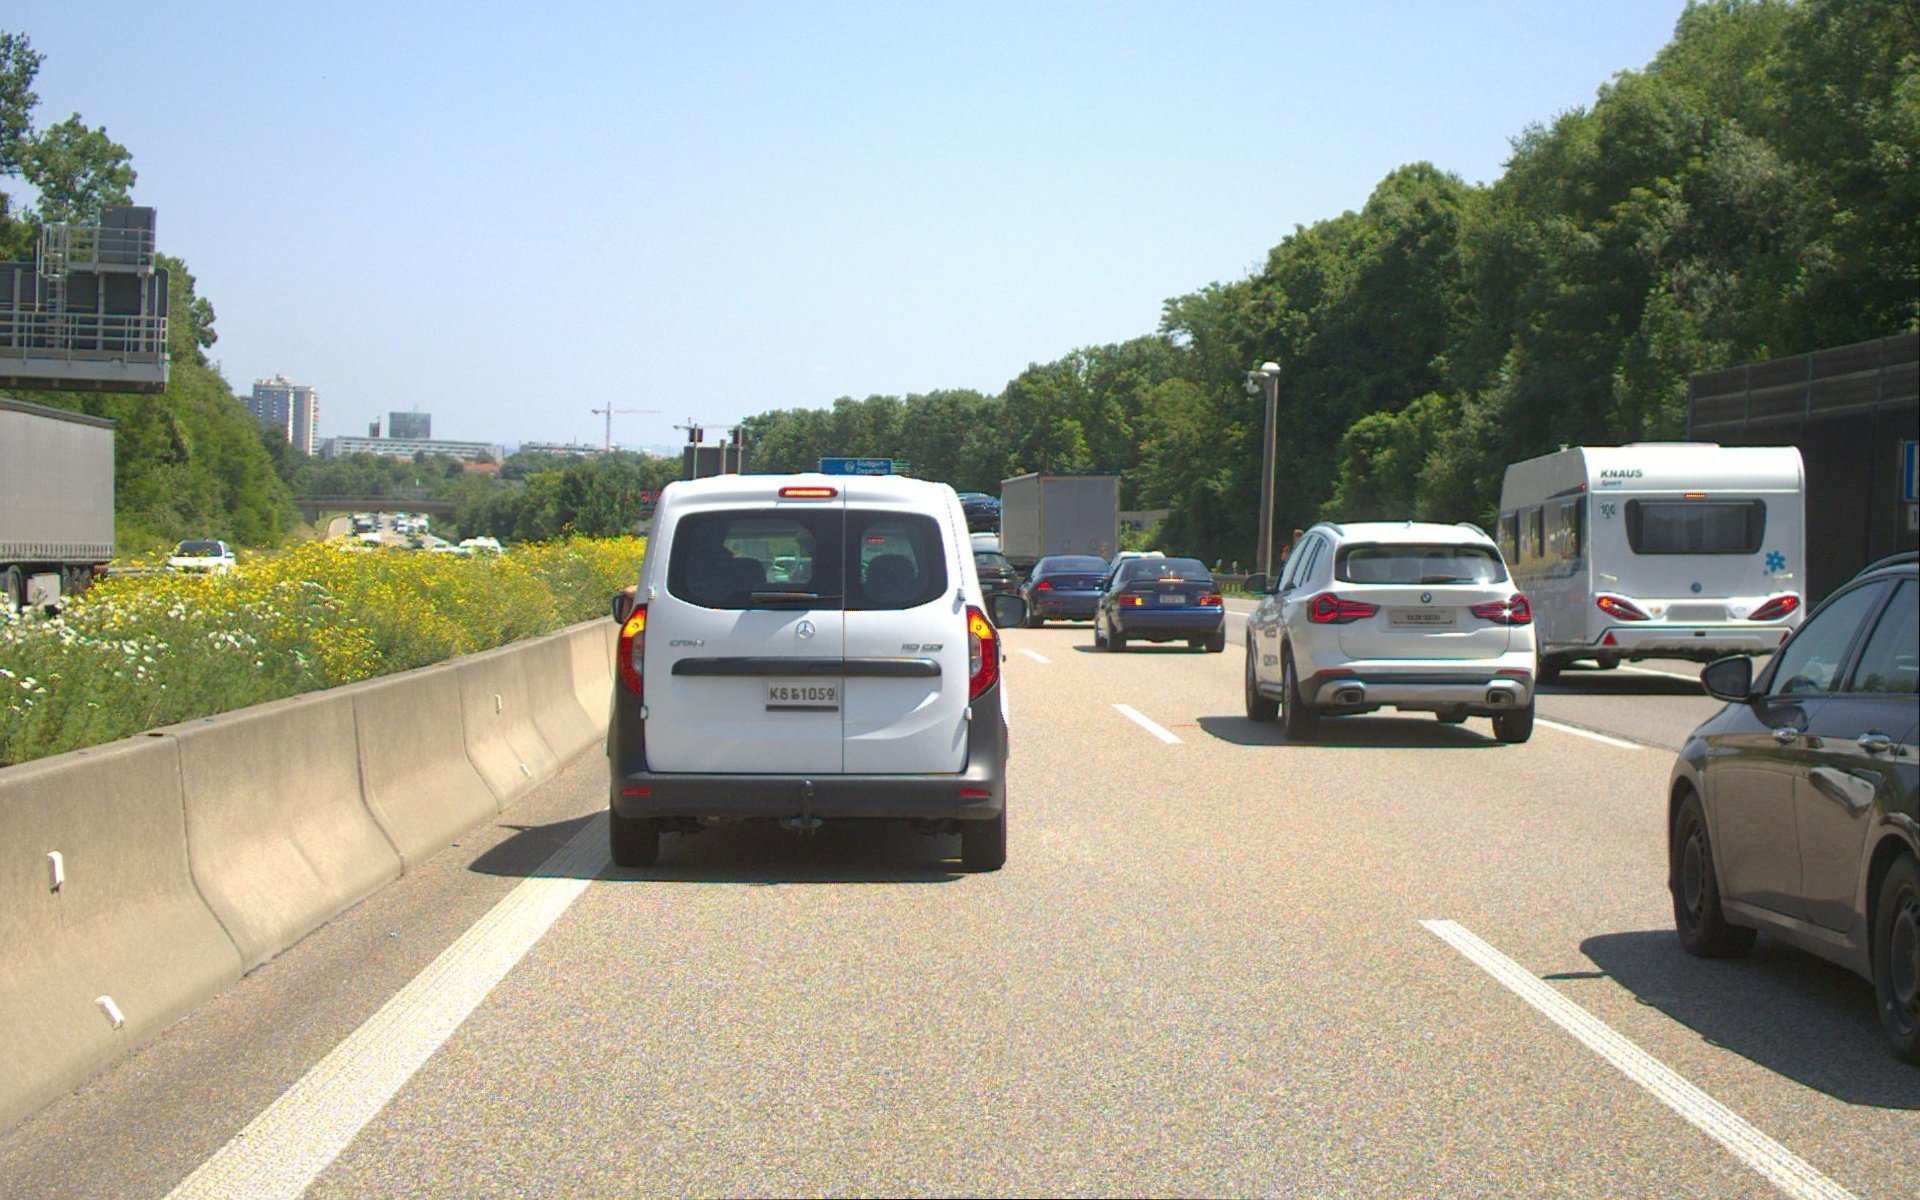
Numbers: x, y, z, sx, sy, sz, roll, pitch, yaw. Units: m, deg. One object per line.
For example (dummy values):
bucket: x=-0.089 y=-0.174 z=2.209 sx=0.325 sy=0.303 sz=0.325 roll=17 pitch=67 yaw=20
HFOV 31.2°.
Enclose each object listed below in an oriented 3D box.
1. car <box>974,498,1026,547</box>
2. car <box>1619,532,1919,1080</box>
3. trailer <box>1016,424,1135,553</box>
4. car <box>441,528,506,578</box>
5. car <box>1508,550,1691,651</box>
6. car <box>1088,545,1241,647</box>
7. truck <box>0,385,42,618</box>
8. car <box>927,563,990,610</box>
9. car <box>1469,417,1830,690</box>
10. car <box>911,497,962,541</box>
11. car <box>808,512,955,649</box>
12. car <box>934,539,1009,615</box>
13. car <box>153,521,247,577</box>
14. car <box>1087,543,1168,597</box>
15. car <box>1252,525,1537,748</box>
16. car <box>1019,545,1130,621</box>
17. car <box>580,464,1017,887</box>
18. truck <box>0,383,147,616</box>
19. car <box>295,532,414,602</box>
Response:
car: x=1.648 y=-3.242 z=143.596 sx=1.993 sy=2.007 sz=4.001 roll=0 pitch=1 yaw=-2
car: x=3.543 y=0.563 z=10.932 sx=1.838 sy=1.508 sz=4.402 roll=1 pitch=1 yaw=-3
trailer: x=3.671 y=-3.545 z=112.059 sx=3.081 sy=3.972 sz=10.324 roll=0 pitch=1 yaw=-2
car: x=-17.727 y=-1.723 z=125.413 sx=1.884 sy=1.749 sz=4.277 roll=0 pitch=1 yaw=-2
car: x=9.347 y=-0.019 z=50.531 sx=1.824 sy=1.419 sz=4.000 roll=0 pitch=1 yaw=-2
car: x=2.933 y=-0.083 z=50.116 sx=1.824 sy=1.419 sz=4.000 roll=0 pitch=1 yaw=-2
truck: x=-17.628 y=-1.674 z=58.282 sx=2.828 sy=3.925 sz=6.008 roll=1 pitch=1 yaw=-3
car: x=-0.070 y=-0.429 z=109.493 sx=1.824 sy=1.442 sz=4.000 roll=0 pitch=1 yaw=-2
car: x=7.459 y=-0.517 z=37.985 sx=2.478 sy=2.756 sz=6.220 roll=0 pitch=1 yaw=-2
car: x=-1.129 y=-3.765 z=160.756 sx=1.993 sy=2.007 sz=4.001 roll=0 pitch=1 yaw=-6
car: x=-1.154 y=-0.296 z=49.037 sx=1.993 sy=1.853 sz=4.000 roll=0 pitch=1 yaw=-2
car: x=0.290 y=-0.624 z=91.778 sx=1.824 sy=1.982 sz=4.000 roll=0 pitch=1 yaw=-2
car: x=-23.538 y=-1.595 z=106.613 sx=1.993 sy=1.686 sz=4.768 roll=0 pitch=1 yaw=-2
car: x=4.509 y=-0.819 z=93.067 sx=1.824 sy=1.419 sz=4.000 roll=0 pitch=1 yaw=-2
car: x=3.365 y=0.228 z=27.280 sx=1.871 sy=1.603 sz=3.879 roll=1 pitch=1 yaw=2
car: x=2.176 y=-0.348 z=66.188 sx=1.824 sy=1.419 sz=4.000 roll=0 pitch=1 yaw=-2
car: x=-0.668 y=0.290 z=16.833 sx=1.802 sy=1.802 sz=4.000 roll=1 pitch=1 yaw=2
truck: x=-18.024 y=-1.842 z=64.917 sx=2.828 sy=3.925 sz=13.747 roll=1 pitch=1 yaw=-3
car: x=-13.387 y=-0.756 z=76.220 sx=1.993 sy=1.493 sz=4.248 roll=1 pitch=1 yaw=-1
